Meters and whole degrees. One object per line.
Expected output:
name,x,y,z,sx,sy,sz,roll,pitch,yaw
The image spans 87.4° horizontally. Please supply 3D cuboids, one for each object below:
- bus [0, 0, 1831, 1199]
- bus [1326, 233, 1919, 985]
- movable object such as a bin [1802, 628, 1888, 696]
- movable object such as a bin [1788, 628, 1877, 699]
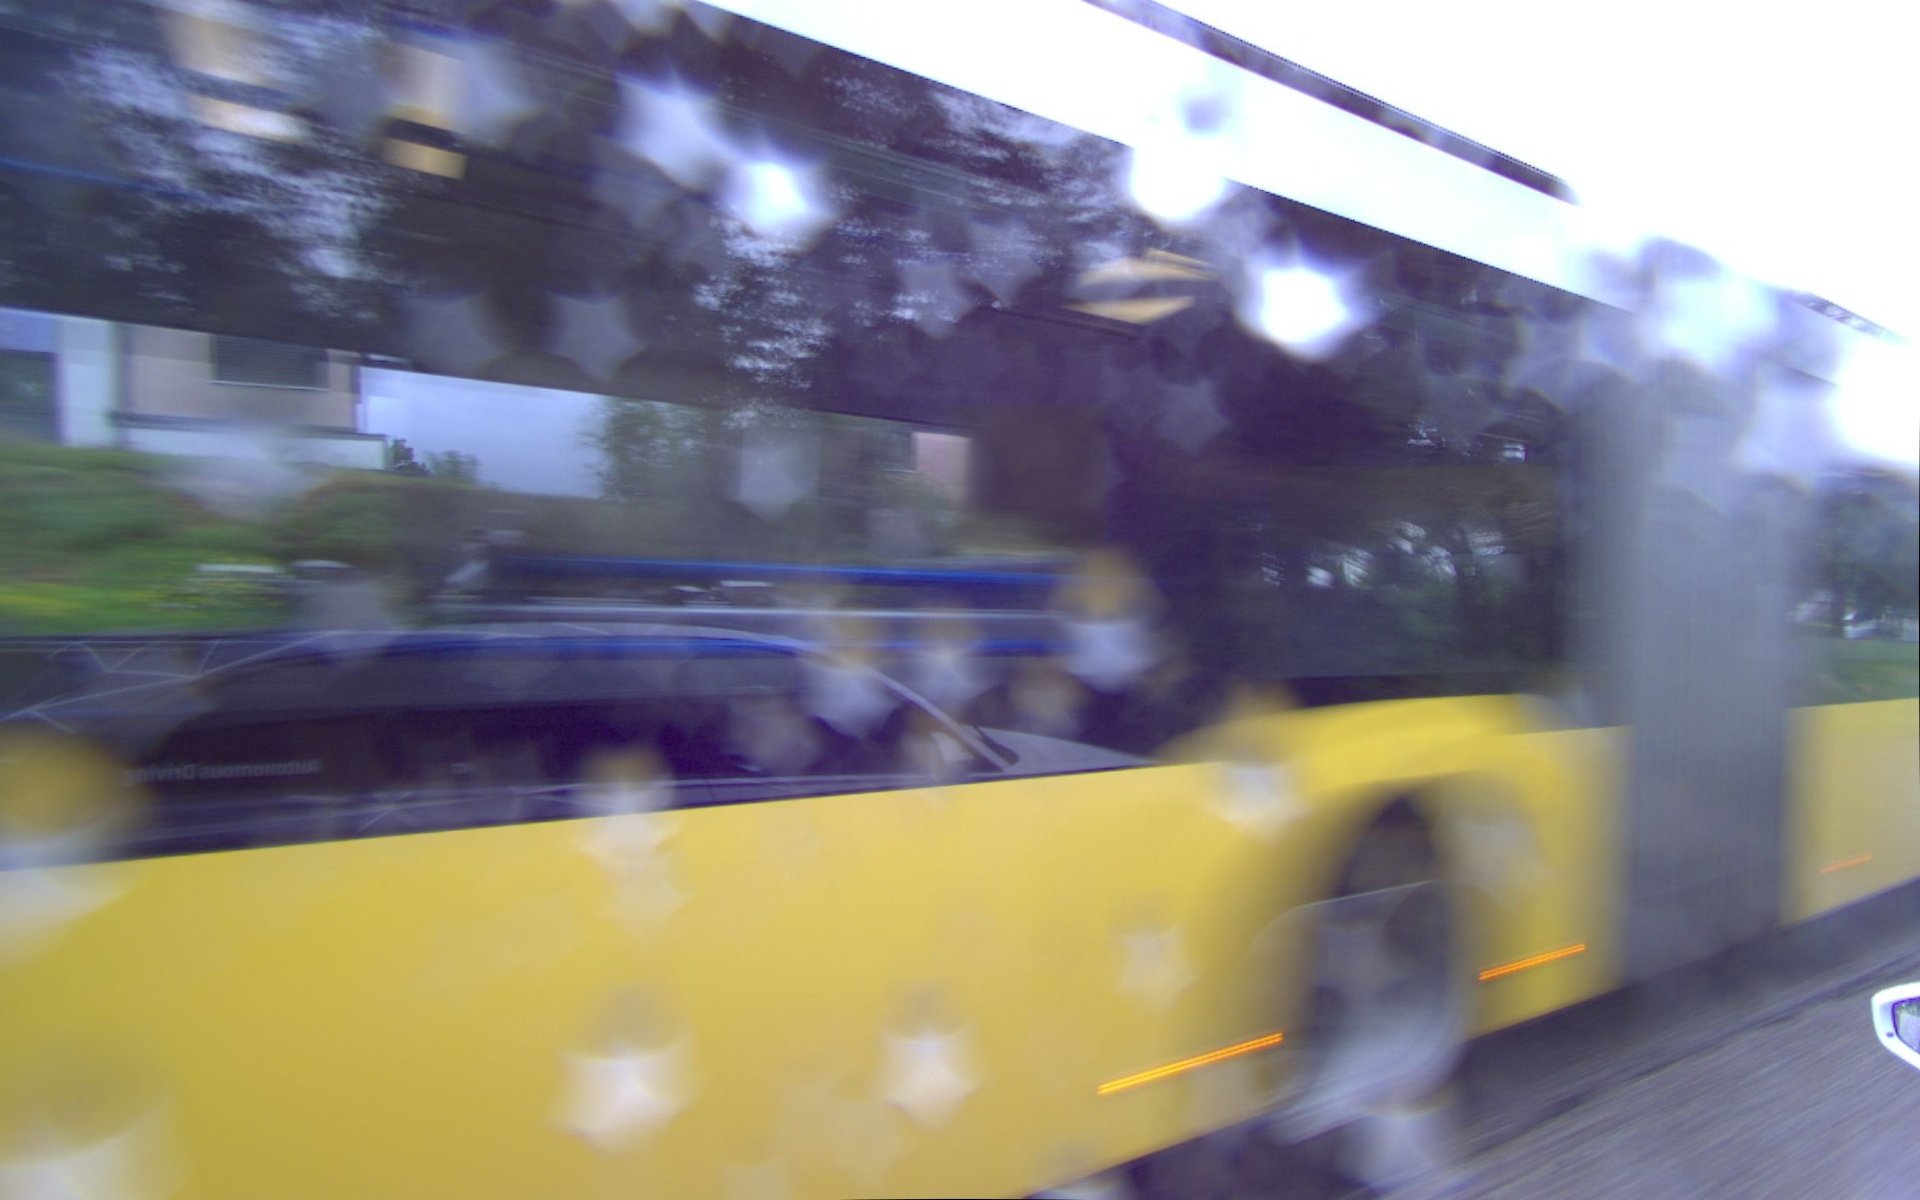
bus,-1.676,-0.078,2.283,10.738,3.108,2.625,2,-1,-33
bus,6.210,0.117,7.299,7.584,3.073,2.624,2,0,-33
movable object such as a bin,19.480,1.336,22.114,1.351,1.340,1.122,1,4,-40
movable object such as a bin,18.339,1.308,21.113,1.387,1.319,1.122,1,3,-40
